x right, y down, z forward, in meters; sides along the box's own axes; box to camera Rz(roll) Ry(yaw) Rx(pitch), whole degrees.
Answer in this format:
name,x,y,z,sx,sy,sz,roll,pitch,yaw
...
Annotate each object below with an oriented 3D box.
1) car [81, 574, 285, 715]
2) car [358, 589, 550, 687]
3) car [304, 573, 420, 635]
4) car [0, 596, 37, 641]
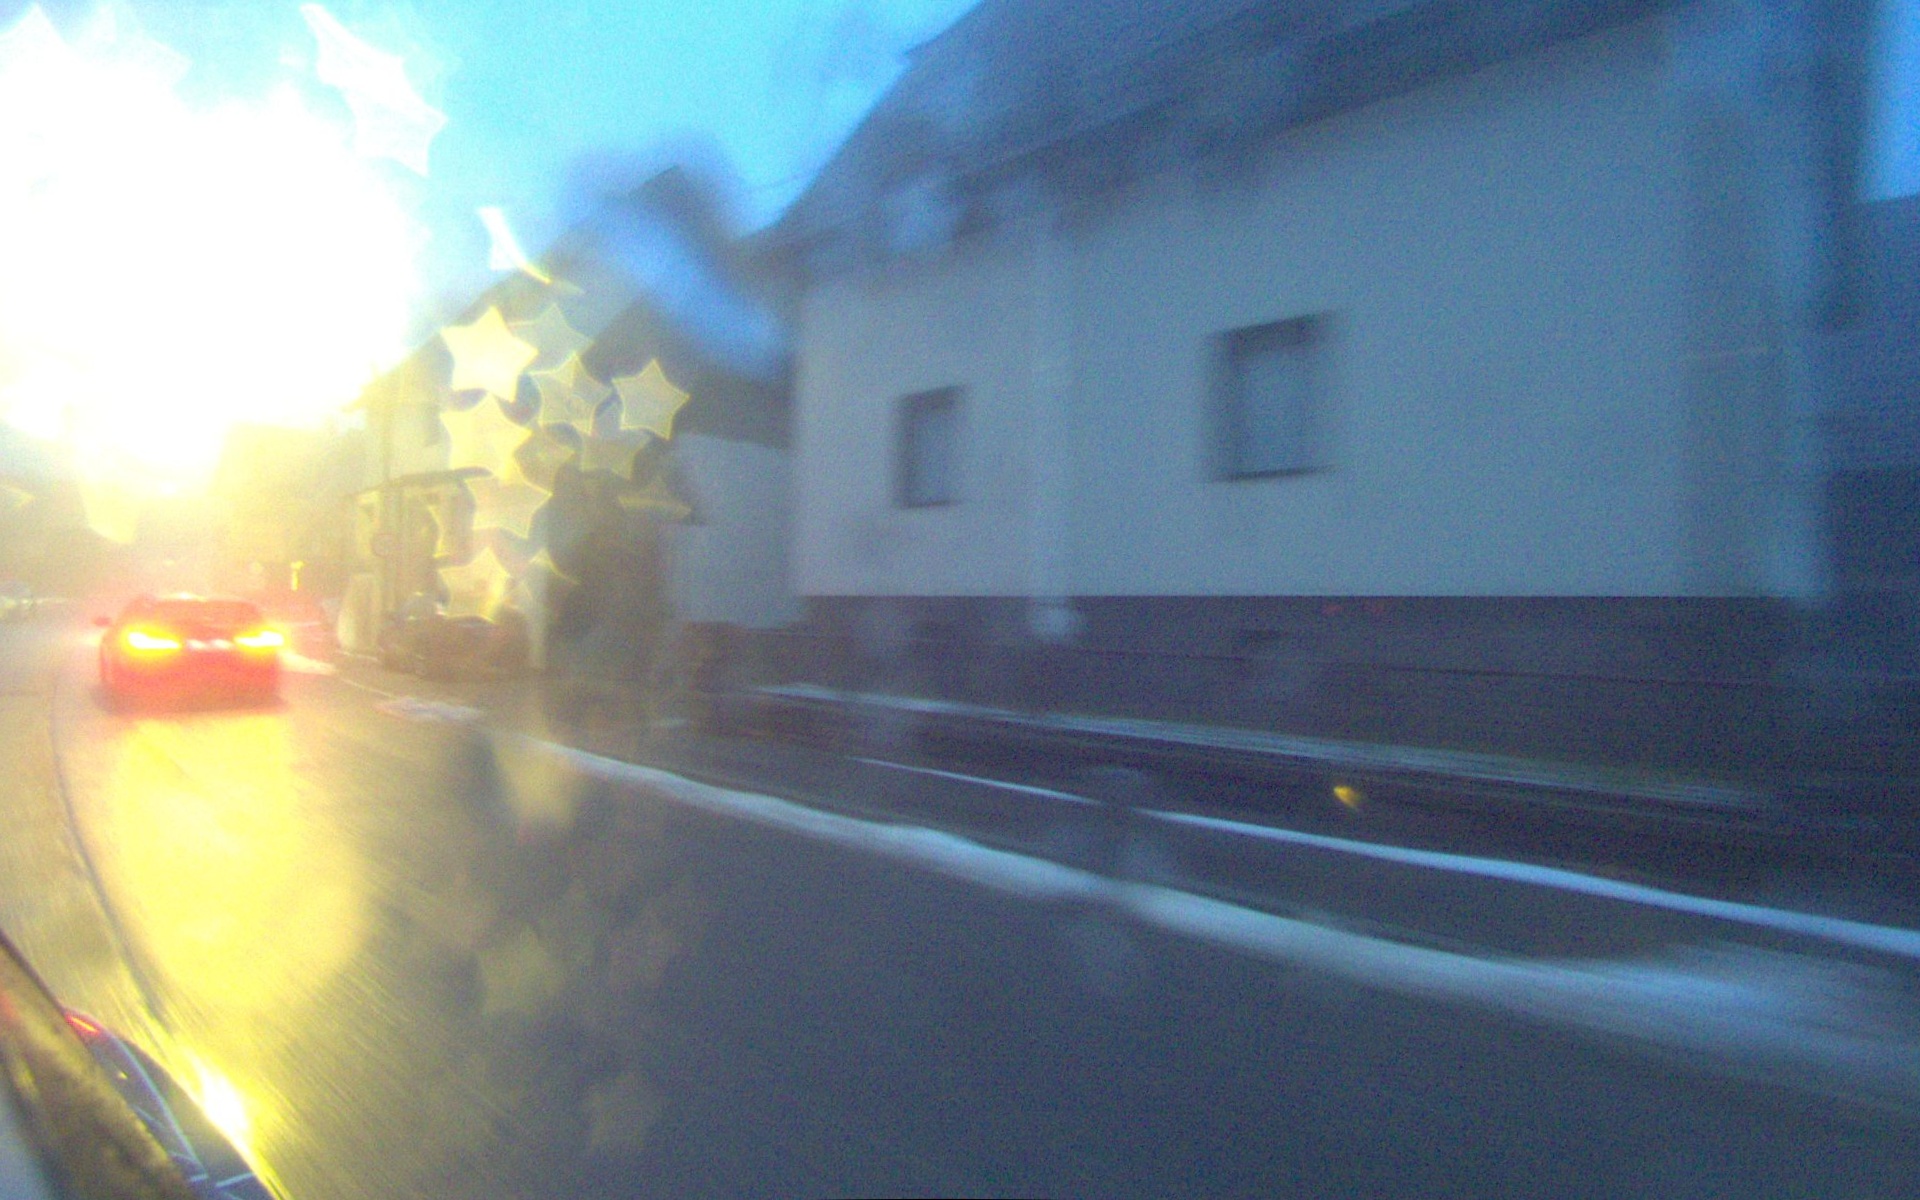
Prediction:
name,x,y,z,sx,sy,sz,roll,pitch,yaw
car,-11.437,0.519,14.770,1.819,1.700,4.481,1,1,-44
car,-9.254,0.618,18.348,1.970,1.534,4.194,-2,1,-44
car,-19.452,0.162,32.829,4.636,1.749,1.747,-2,2,41
car,-35.317,0.659,37.007,1.885,1.492,4.291,1,1,-37
